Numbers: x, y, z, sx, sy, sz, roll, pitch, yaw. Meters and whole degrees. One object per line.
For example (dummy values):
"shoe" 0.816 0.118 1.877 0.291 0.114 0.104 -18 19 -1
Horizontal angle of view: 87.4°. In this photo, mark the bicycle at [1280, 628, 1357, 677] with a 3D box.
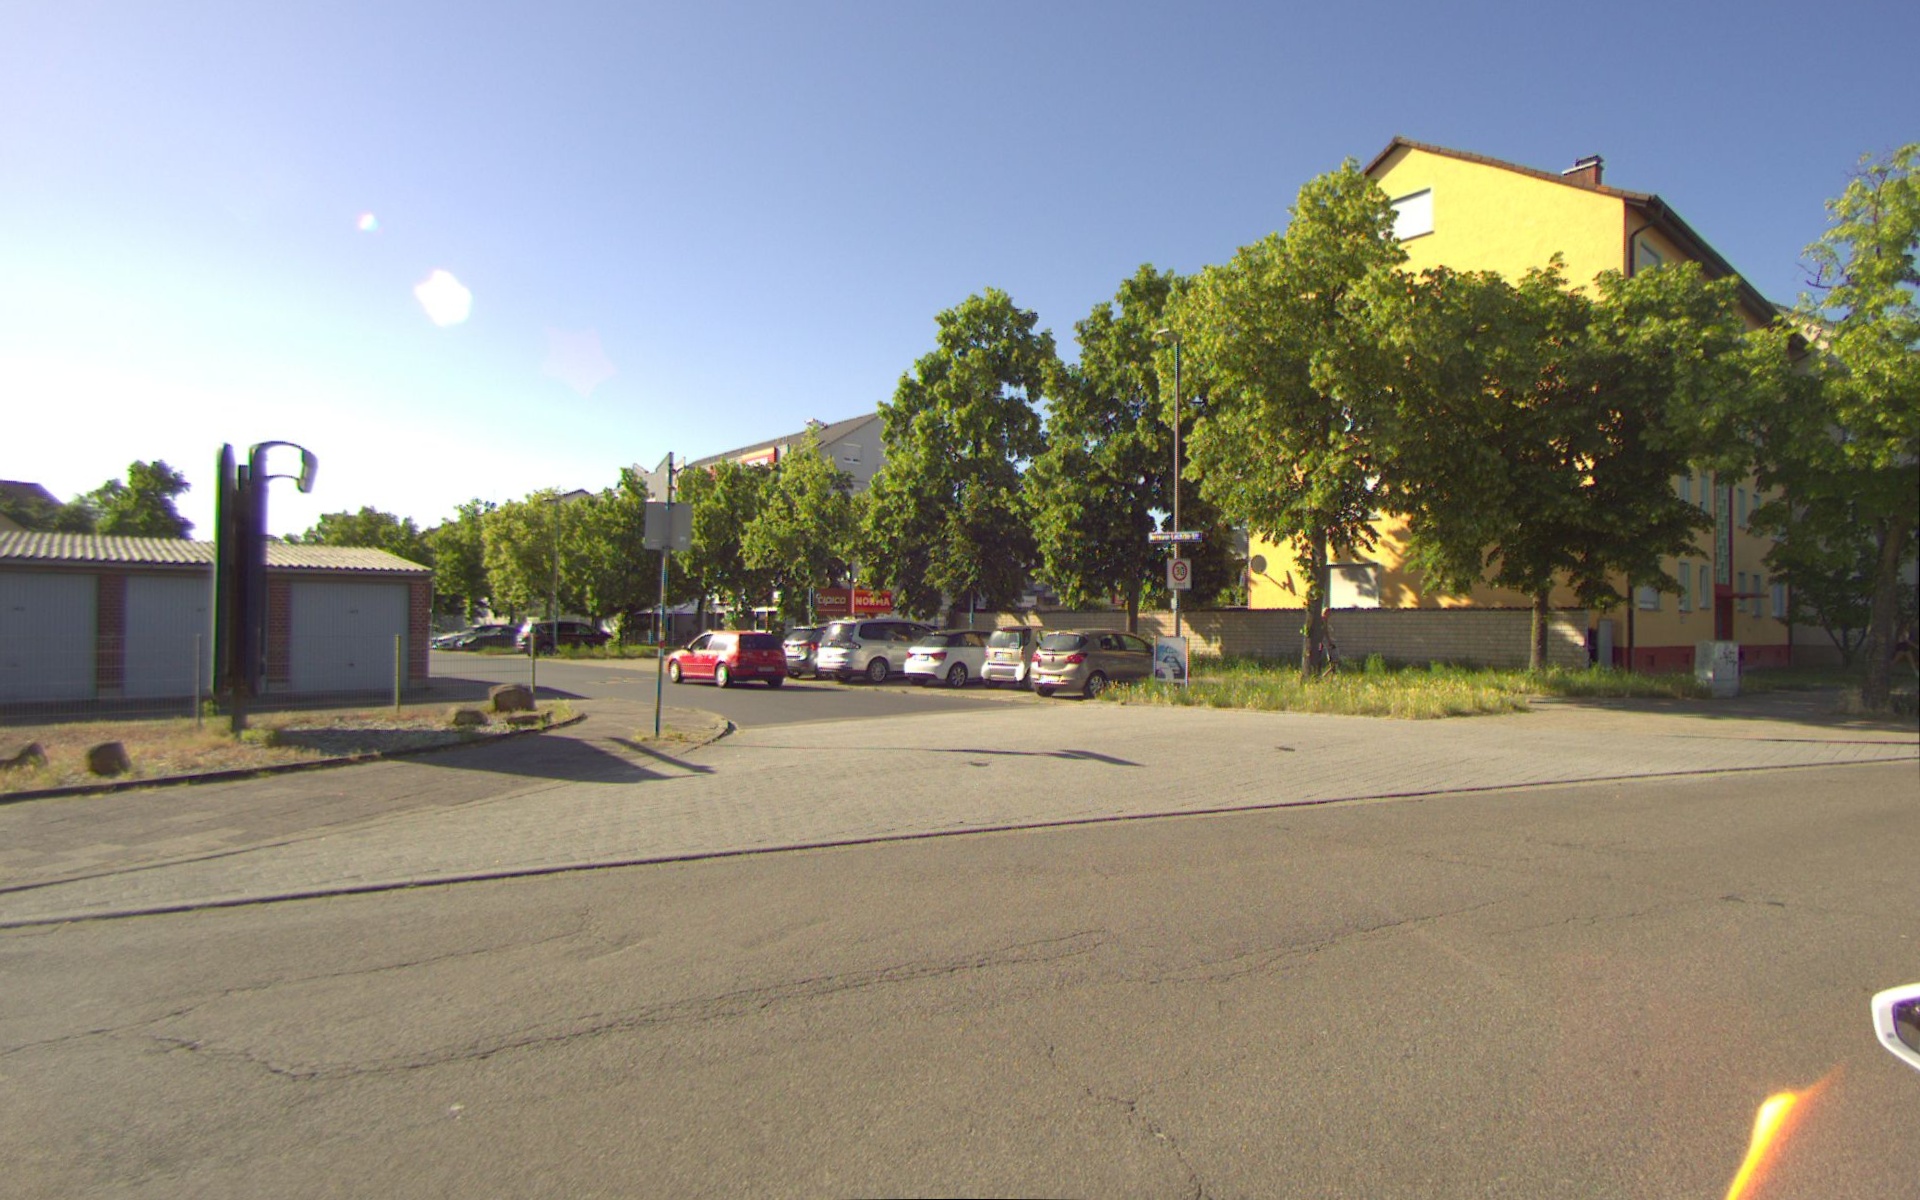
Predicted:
"bicycle" 8.157 1.188 22.858 1.593 1.024 0.406 1 0 29

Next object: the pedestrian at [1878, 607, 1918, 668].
"pedestrian" 27.785 1.107 29.747 0.712 1.740 0.682 3 -2 -30

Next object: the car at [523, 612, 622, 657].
"car" -17.510 1.508 45.405 3.953 1.951 1.832 0 0 -30

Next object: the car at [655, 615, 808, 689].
"car" -6.072 1.285 26.410 2.004 1.589 4.336 0 2 -43

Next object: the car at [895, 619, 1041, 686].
"car" 0.264 1.323 26.668 1.680 1.484 3.856 1 2 45

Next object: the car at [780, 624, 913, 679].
"car" -3.397 1.515 30.480 3.851 1.525 1.488 1 0 -41

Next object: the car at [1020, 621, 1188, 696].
"car" 3.306 1.252 22.610 3.853 1.483 1.713 1 0 -43

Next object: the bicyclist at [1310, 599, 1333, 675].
"bicyclist" 8.218 0.836 22.843 0.382 1.708 0.381 2 -2 29

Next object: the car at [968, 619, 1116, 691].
"car" 2.146 1.332 25.520 1.680 1.643 3.857 1 0 45

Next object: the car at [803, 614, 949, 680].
"car" -2.309 1.242 28.148 3.851 1.702 1.682 1 0 -41

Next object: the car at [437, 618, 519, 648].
"car" -28.047 1.924 58.498 1.632 1.641 3.975 0 -2 44

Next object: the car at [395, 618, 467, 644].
"car" -35.204 2.057 66.918 3.971 1.641 1.634 1 -2 -43
